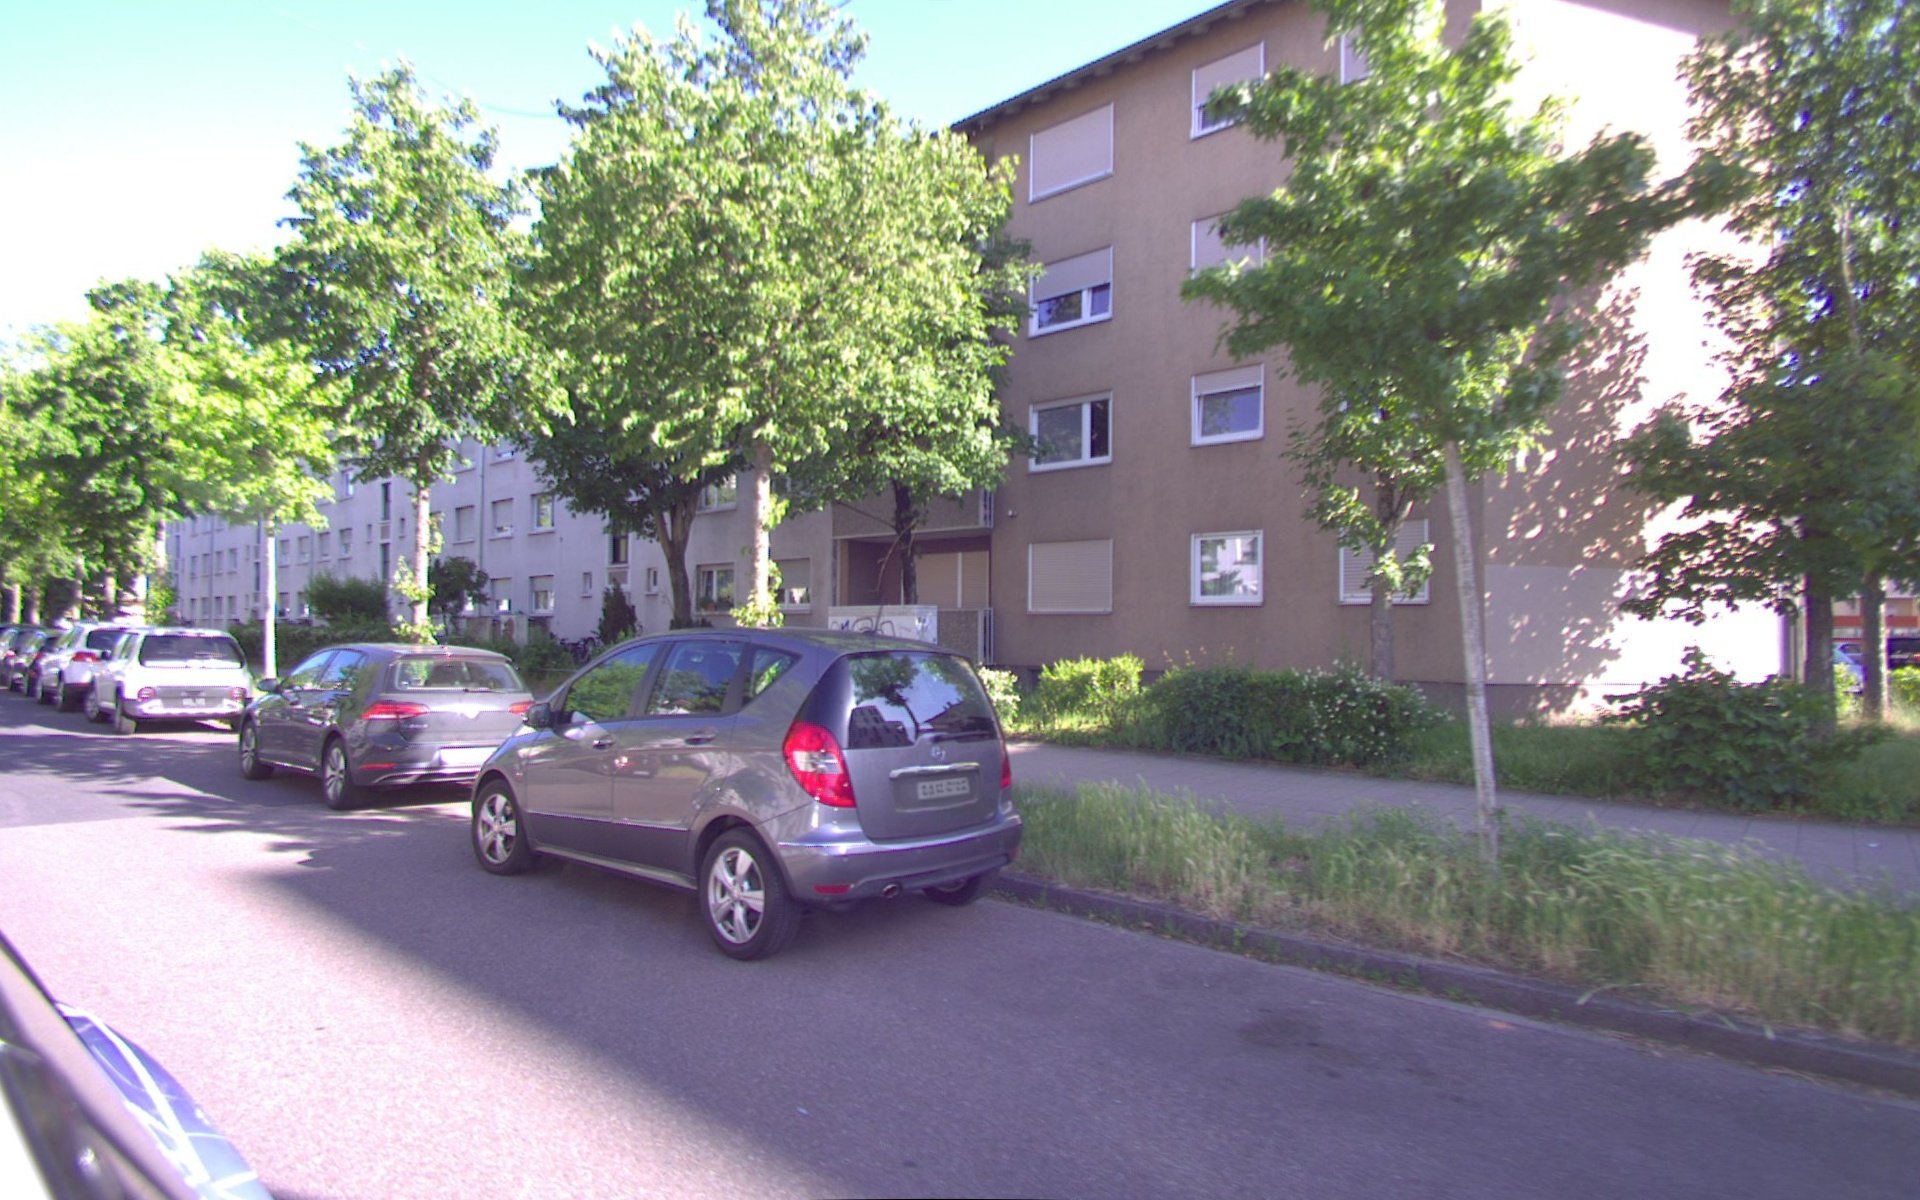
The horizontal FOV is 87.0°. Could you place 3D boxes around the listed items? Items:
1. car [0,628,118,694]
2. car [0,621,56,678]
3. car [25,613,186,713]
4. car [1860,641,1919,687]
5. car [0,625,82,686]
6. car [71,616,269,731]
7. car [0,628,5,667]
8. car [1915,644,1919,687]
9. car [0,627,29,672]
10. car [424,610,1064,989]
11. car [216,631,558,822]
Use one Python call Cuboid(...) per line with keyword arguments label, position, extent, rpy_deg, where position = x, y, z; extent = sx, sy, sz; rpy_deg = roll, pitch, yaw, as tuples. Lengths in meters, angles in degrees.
Cuboid(label="car", position=(-21.033, 1.359, 23.469), extent=(4.234, 1.402, 1.640), rpy_deg=(-1, -2, 41))
Cuboid(label="car", position=(-28.199, 1.436, 29.764), extent=(4.406, 1.597, 1.796), rpy_deg=(-2, -3, 41))
Cuboid(label="car", position=(-16.509, 1.139, 19.482), extent=(4.221, 1.692, 1.685), rpy_deg=(0, -3, 41))
Cuboid(label="car", position=(32.492, 2.069, 33.484), extent=(3.935, 1.264, 2.005), rpy_deg=(-3, 1, -11))
Cuboid(label="car", position=(-24.493, 1.416, 26.535), extent=(3.965, 1.456, 1.631), rpy_deg=(0, -3, 41))
Cuboid(label="car", position=(-12.556, 1.056, 16.004), extent=(3.997, 1.538, 1.699), rpy_deg=(-1, 0, 40))
Cuboid(label="car", position=(-36.912, 1.710, 37.453), extent=(4.181, 1.385, 1.855), rpy_deg=(0, -3, 41))
Cuboid(label="car", position=(31.657, 1.982, 30.513), extent=(3.939, 1.320, 2.002), rpy_deg=(-1, 0, -5))
Cuboid(label="car", position=(-32.031, 1.585, 33.085), extent=(4.066, 1.385, 1.855), rpy_deg=(0, -3, 41))
Cuboid(label="car", position=(-1.543, 0.880, 6.235), extent=(4.106, 1.574, 1.702), rpy_deg=(-1, -3, 41))
Cuboid(label="car", position=(-5.780, 1.067, 10.006), extent=(4.089, 1.405, 1.642), rpy_deg=(-1, 0, 40))
